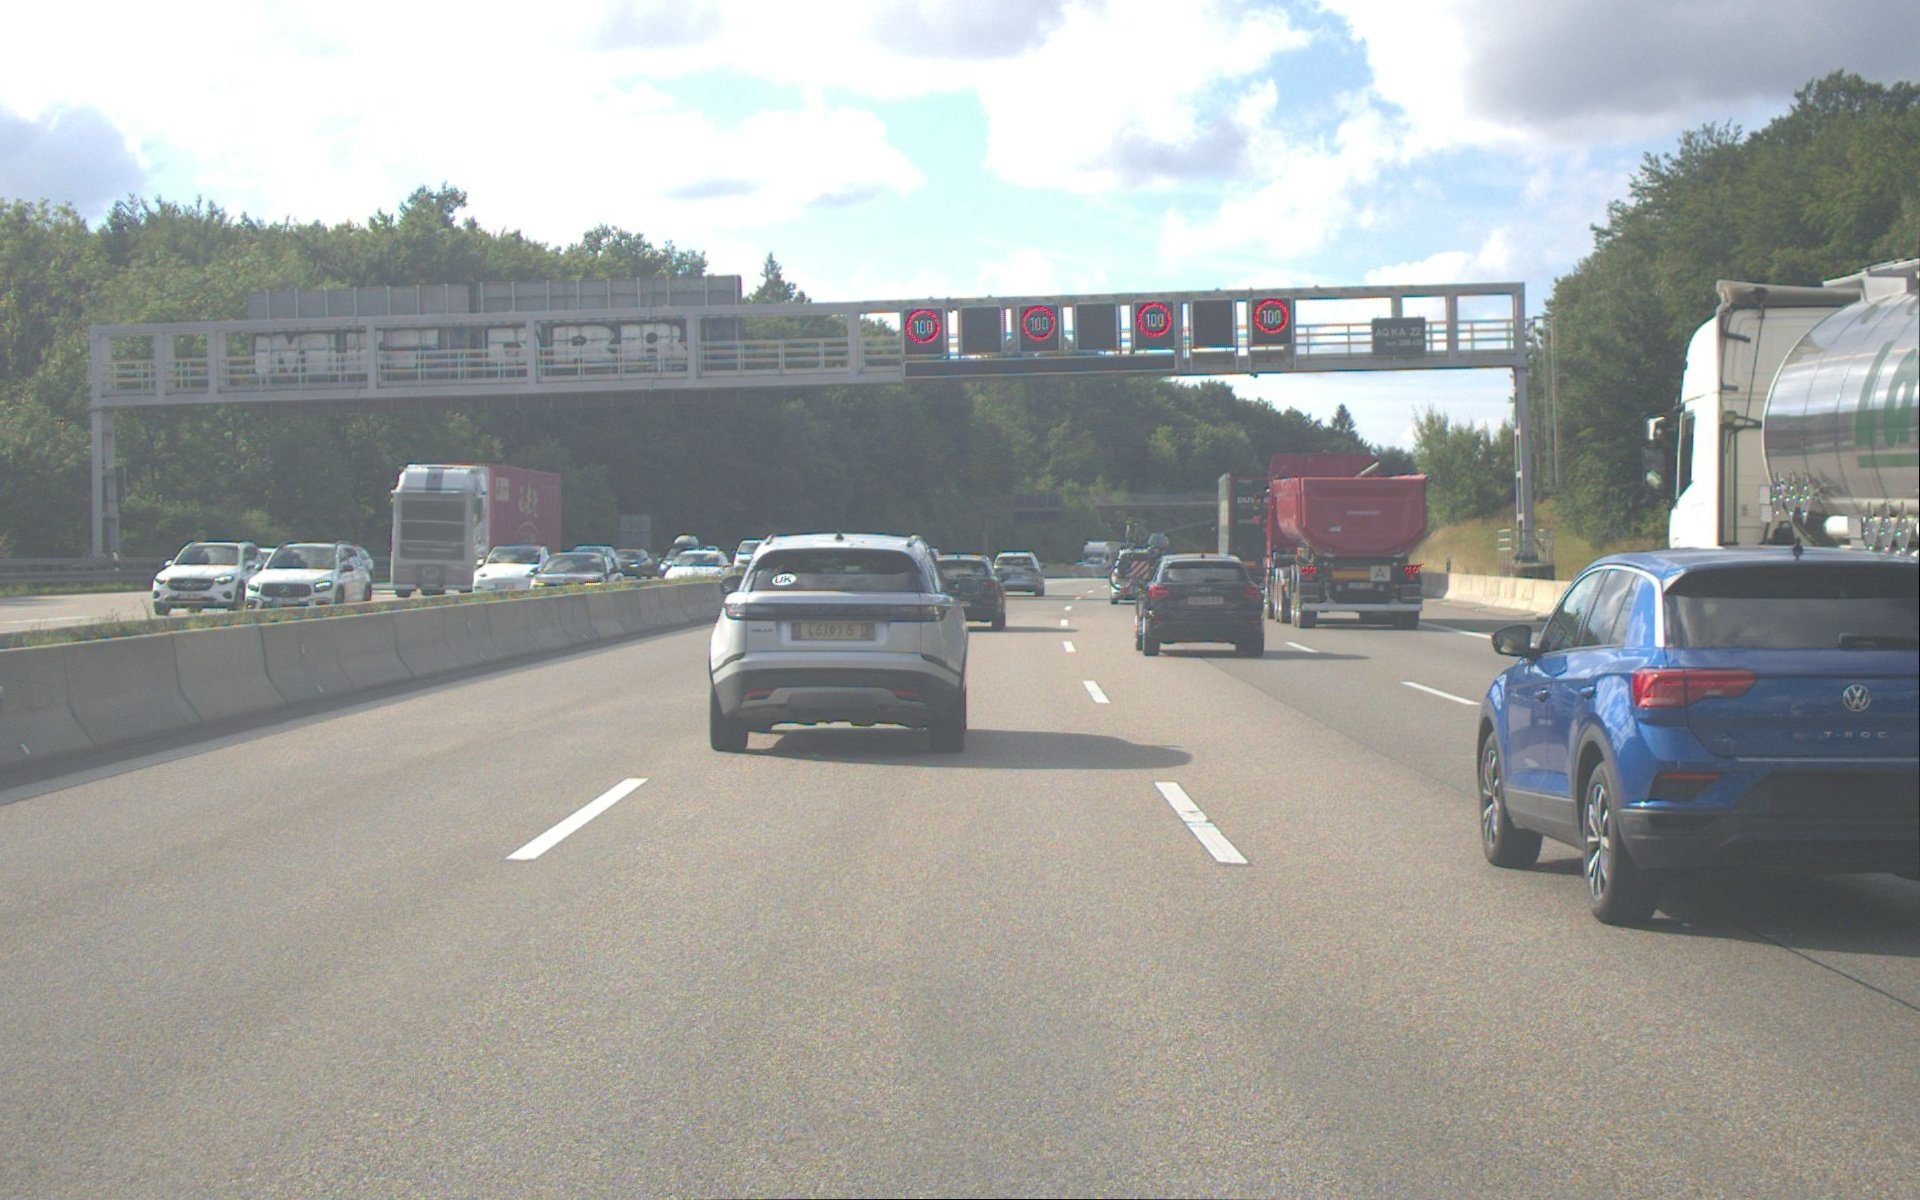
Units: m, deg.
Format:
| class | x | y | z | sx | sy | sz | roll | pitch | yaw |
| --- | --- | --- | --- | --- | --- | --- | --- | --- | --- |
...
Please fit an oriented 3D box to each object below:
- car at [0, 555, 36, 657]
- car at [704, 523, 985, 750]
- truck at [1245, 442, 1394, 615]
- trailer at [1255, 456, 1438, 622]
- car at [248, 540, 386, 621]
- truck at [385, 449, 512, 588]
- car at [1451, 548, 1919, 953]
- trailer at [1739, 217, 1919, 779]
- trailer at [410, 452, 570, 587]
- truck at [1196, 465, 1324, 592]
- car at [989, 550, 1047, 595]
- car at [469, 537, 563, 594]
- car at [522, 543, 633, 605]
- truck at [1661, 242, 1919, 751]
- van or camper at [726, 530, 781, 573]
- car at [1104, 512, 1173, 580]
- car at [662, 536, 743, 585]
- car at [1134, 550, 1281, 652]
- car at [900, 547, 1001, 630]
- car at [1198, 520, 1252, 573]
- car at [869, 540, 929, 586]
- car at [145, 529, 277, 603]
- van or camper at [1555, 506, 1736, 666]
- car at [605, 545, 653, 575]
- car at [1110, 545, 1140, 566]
| class | x | y | z | sx | sy | sz | roll | pitch | yaw |
| --- | --- | --- | --- | --- | --- | --- | --- | --- | --- |
| car | -11.859 | 0.075 | 38.390 | 1.811 | 1.157 | 4.515 | 0 | 1 | 1 |
| car | -0.848 | 0.219 | 27.456 | 2.006 | 1.611 | 5.301 | 1 | 1 | 0 |
| truck | 7.964 | -1.598 | 76.778 | 2.710 | 3.706 | 5.818 | 1 | 1 | 0 |
| trailer | 7.958 | -1.288 | 71.902 | 2.710 | 3.220 | 9.733 | 1 | 1 | 0 |
| car | -13.072 | -0.424 | 70.135 | 1.708 | 1.588 | 4.943 | 0 | 1 | 2 |
| truck | -15.458 | -2.451 | 104.330 | 2.739 | 4.092 | 5.764 | 0 | 1 | 3 |
| car | 3.403 | 0.539 | 15.270 | 1.773 | 1.525 | 4.458 | 0 | 1 | 0 |
| trailer | 7.737 | -0.682 | 22.711 | 2.649 | 3.754 | 11.860 | 0 | 1 | 1 |
| trailer | -15.129 | -2.570 | 111.717 | 2.739 | 4.092 | 13.416 | 0 | 1 | 3 |
| truck | 9.653 | -2.294 | 111.695 | 3.118 | 3.921 | 10.412 | 0 | 1 | -1 |
| car | 1.937 | -0.923 | 113.940 | 1.822 | 1.452 | 4.000 | 1 | 0 | 3 |
| car | -12.222 | -0.979 | 94.817 | 1.857 | 1.520 | 4.995 | 0 | 1 | 1 |
| car | -8.845 | -0.621 | 79.803 | 1.993 | 1.357 | 4.620 | 1 | 1 | 1 |
| truck | 7.787 | -0.838 | 28.800 | 2.649 | 3.810 | 6.082 | 0 | 1 | 1 |
| van or camper | -8.963 | -2.114 | 149.524 | 1.862 | 1.844 | 5.155 | 1 | 1 | 3 |
| car | 5.086 | -1.540 | 97.828 | 1.894 | 1.850 | 4.100 | 1 | 1 | 3 |
| car | -7.857 | -1.227 | 105.299 | 1.770 | 1.437 | 4.850 | 1 | 1 | 4 |
| car | 3.668 | -0.010 | 51.576 | 1.822 | 1.452 | 4.000 | 0 | 1 | -1 |
| car | -0.161 | -0.246 | 67.072 | 1.822 | 1.541 | 4.000 | 0 | 1 | 2 |
| car | 9.588 | -1.935 | 124.547 | 1.894 | 1.850 | 4.100 | 1 | 1 | 4 |
| car | -2.029 | -1.260 | 115.348 | 1.942 | 1.452 | 4.000 | -1 | 1 | 0 |
| car | -16.842 | -0.783 | 77.561 | 1.793 | 1.612 | 5.045 | 0 | 1 | 1 |
| van or camper | 10.287 | -0.245 | 51.920 | 1.822 | 2.299 | 4.939 | 0 | 1 | 1 |
| car | -16.268 | -1.968 | 168.959 | 1.701 | 1.435 | 4.707 | 1 | 1 | 3 |
| car | 11.809 | -3.170 | 246.341 | 2.077 | 1.452 | 4.000 | -1 | 1 | 3 |
